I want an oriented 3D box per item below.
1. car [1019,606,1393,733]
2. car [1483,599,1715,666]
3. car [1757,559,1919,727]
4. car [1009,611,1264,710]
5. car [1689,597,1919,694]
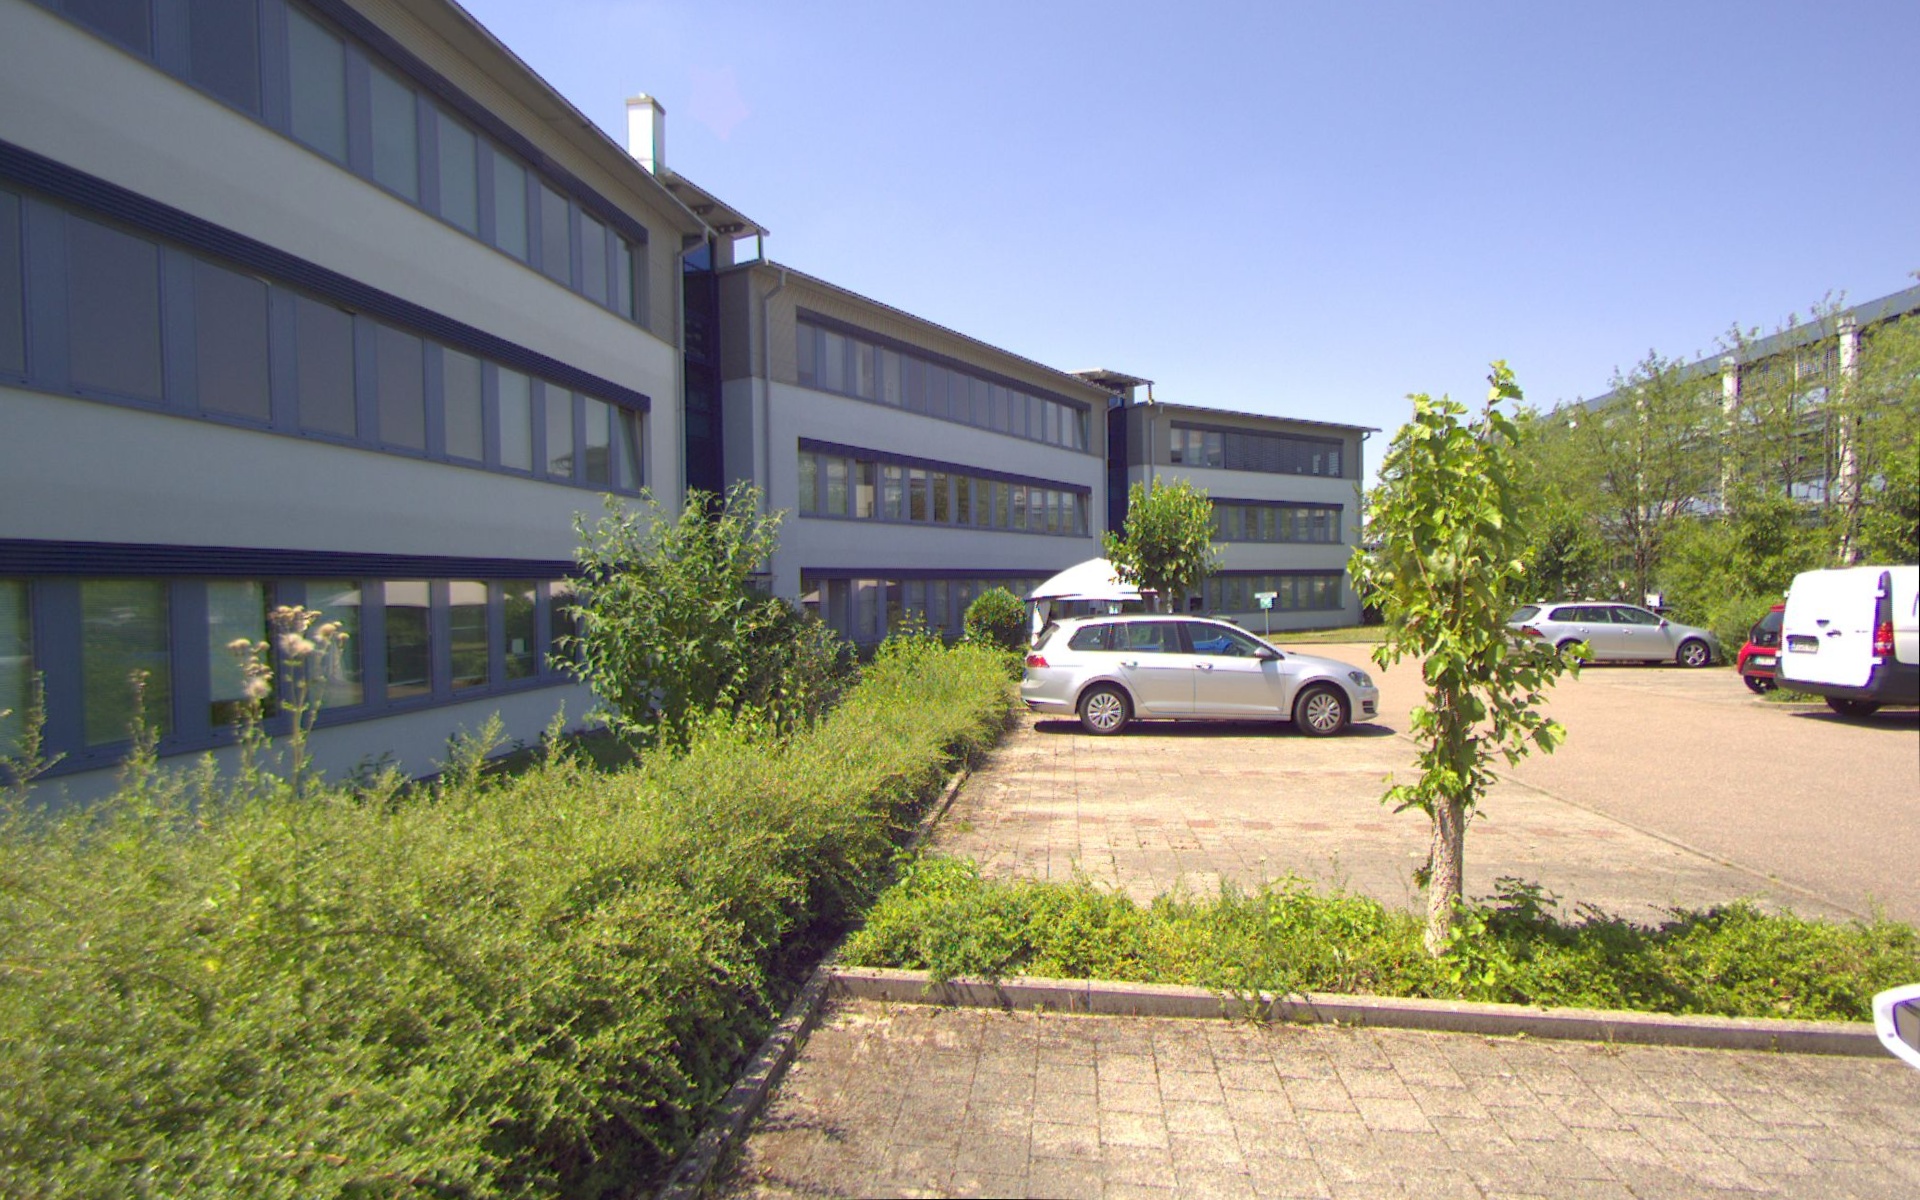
[{"bbox_3d":[2.994,0.847,12.958,4.393,1.492,1.864,-1,0,5],"label":"car"},{"bbox_3d":[14.569,0.725,23.126,4.085,1.425,1.874,-1,0,8],"label":"car"},{"bbox_3d":[12.851,0.460,12.167,4.706,1.916,1.889,-1,0,7],"label":"car"},{"bbox_3d":[2.893,0.975,16.836,3.919,1.481,2.001,-2,0,8],"label":"car"},{"bbox_3d":[14.298,0.697,16.047,3.919,1.460,1.789,0,0,8],"label":"car"}]
